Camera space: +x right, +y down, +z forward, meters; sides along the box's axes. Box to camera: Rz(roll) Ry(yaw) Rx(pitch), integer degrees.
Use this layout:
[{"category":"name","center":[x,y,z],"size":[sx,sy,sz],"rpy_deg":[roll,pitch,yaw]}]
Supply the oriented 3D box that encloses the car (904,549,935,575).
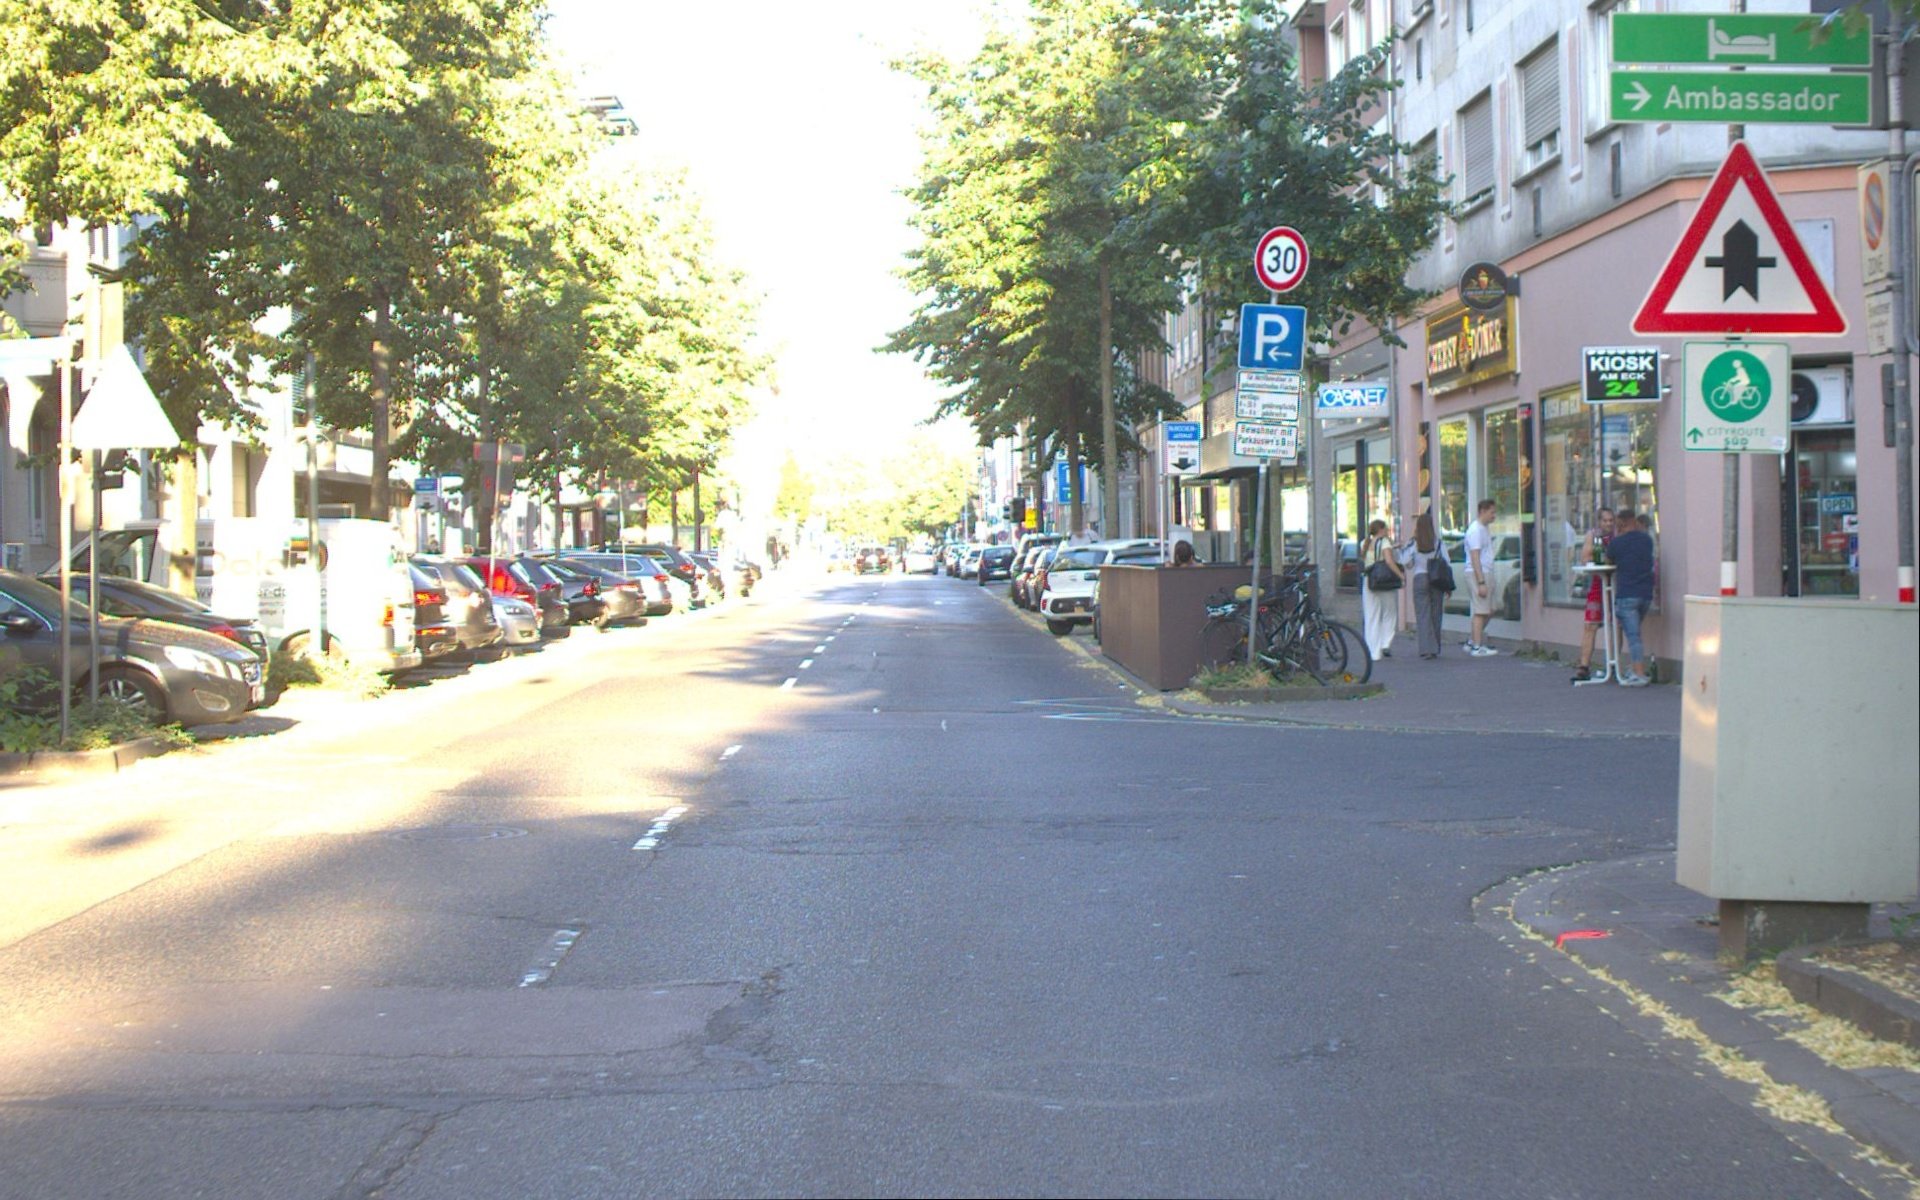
[{"category":"car","center":[-2.334,-2.185,198.063],"size":[1.721,1.470,3.304],"rpy_deg":[-1,1,0]}]

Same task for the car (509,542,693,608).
[{"category":"car","center":[-8.769,-0.610,84.205],"size":[4.304,1.592,1.919],"rpy_deg":[0,1,0]}]

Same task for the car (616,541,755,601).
[{"category":"car","center":[-9.049,-0.958,113.619],"size":[4.442,1.953,1.919],"rpy_deg":[0,1,0]}]

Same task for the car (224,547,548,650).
[{"category":"car","center":[-8.377,-0.034,50.407],"size":[4.442,1.479,1.809],"rpy_deg":[0,1,0]}]

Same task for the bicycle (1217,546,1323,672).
[{"category":"bicycle","center":[3.027,0.074,33.395],"size":[0.598,1.174,1.844],"rpy_deg":[0,1,19]}]

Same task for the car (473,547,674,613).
[{"category":"car","center":[-8.958,-0.478,79.885],"size":[4.442,1.518,1.919],"rpy_deg":[0,1,0]}]

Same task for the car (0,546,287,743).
[{"category":"car","center":[-7.856,0.335,27.685],"size":[4.546,1.536,1.811],"rpy_deg":[0,1,-2]}]

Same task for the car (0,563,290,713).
[{"category":"car","center":[-8.568,0.353,33.082],"size":[3.791,1.387,2.043],"rpy_deg":[0,0,3]}]

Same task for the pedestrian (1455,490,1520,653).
[{"category":"pedestrian","center":[5.922,-0.327,38.615],"size":[0.698,1.798,0.891],"rpy_deg":[-1,1,8]}]

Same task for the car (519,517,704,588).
[{"category":"car","center":[-8.718,-1.184,86.302],"size":[4.442,1.753,1.919],"rpy_deg":[0,1,0]}]

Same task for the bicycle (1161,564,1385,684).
[{"category":"bicycle","center":[2.902,0.213,31.935],"size":[1.957,1.070,0.704],"rpy_deg":[0,1,31]}]

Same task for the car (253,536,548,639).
[{"category":"car","center":[-8.988,-0.211,55.466],"size":[4.442,1.633,1.859],"rpy_deg":[0,1,0]}]

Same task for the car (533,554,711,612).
[{"category":"car","center":[-8.776,-0.452,89.430],"size":[4.442,1.494,1.919],"rpy_deg":[0,1,0]}]

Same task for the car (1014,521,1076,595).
[{"category":"car","center":[2.166,-1.085,88.553],"size":[1.513,1.858,4.235],"rpy_deg":[0,1,1]}]

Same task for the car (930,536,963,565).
[{"category":"car","center":[-0.730,-2.702,188.466],"size":[1.752,1.535,3.304],"rpy_deg":[-1,1,0]}]

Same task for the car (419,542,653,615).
[{"category":"car","center":[-8.473,-0.438,68.933],"size":[4.442,1.444,1.919],"rpy_deg":[0,1,0]}]

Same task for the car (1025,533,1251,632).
[{"category":"car","center":[2.963,-0.315,56.622],"size":[1.674,1.583,3.814],"rpy_deg":[1,1,42]}]

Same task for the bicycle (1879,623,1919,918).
[{"category":"bicycle","center":[4.013,0.641,12.497],"size":[0.778,1.108,1.899],"rpy_deg":[-2,0,-1]}]

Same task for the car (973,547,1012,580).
[{"category":"car","center":[1.269,-1.450,136.224],"size":[1.513,1.271,3.304],"rpy_deg":[0,1,0]}]

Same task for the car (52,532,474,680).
[{"category":"car","center":[-8.180,0.055,40.682],"size":[4.571,1.692,2.060],"rpy_deg":[0,1,0]}]

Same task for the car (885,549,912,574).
[{"category":"car","center":[-3.883,-2.427,216.510],"size":[1.570,1.500,3.304],"rpy_deg":[-1,1,0]}]

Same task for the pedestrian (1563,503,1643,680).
[{"category":"pedestrian","center":[5.957,-0.084,31.874],"size":[0.567,1.594,0.663],"rpy_deg":[-2,2,0]}]

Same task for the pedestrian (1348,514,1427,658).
[{"category":"pedestrian","center":[4.870,-0.163,39.131],"size":[0.797,1.620,0.912],"rpy_deg":[0,1,12]}]

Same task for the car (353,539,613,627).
[{"category":"car","center":[-8.626,-0.318,62.411],"size":[4.442,1.562,1.919],"rpy_deg":[0,1,0]}]

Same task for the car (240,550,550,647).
[{"category":"car","center":[-8.625,-0.037,52.712],"size":[4.442,1.453,1.859],"rpy_deg":[0,1,0]}]

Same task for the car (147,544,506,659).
[{"category":"car","center":[-8.403,0.007,45.837],"size":[4.442,1.501,1.845],"rpy_deg":[0,1,0]}]

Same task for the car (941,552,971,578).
[{"category":"car","center":[-0.200,-1.795,177.148],"size":[1.513,1.294,3.304],"rpy_deg":[0,1,0]}]

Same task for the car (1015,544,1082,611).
[{"category":"car","center":[2.106,-0.558,82.103],"size":[1.513,1.556,3.514],"rpy_deg":[0,1,0]}]

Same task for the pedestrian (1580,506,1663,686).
[{"category":"pedestrian","center":[5.979,-0.043,31.110],"size":[0.567,1.578,0.663],"rpy_deg":[-2,2,0]}]

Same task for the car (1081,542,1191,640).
[{"category":"car","center":[2.641,-0.158,52.214],"size":[1.543,1.428,3.678],"rpy_deg":[0,1,1]}]

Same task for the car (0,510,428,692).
[{"category":"car","center":[-8.318,-0.003,38.036],"size":[4.571,1.955,1.991],"rpy_deg":[0,1,-1]}]

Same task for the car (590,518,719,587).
[{"category":"car","center":[-10.972,-1.707,123.740],"size":[4.442,2.426,1.919],"rpy_deg":[0,1,0]}]

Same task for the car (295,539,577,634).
[{"category":"car","center":[-8.754,-0.236,57.697],"size":[4.442,1.562,1.919],"rpy_deg":[0,1,0]}]

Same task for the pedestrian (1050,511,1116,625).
[{"category":"pedestrian","center":[2.092,-0.543,58.571],"size":[0.916,1.919,1.018],"rpy_deg":[0,1,-10]}]

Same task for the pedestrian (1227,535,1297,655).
[{"category":"pedestrian","center":[3.514,-0.064,40.088],"size":[0.726,1.373,0.781],"rpy_deg":[-1,1,-1]}]

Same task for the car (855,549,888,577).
[{"category":"car","center":[-5.061,-2.106,196.499],"size":[1.752,1.535,3.304],"rpy_deg":[-1,1,0]}]

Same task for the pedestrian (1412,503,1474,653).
[{"category":"pedestrian","center":[5.462,-0.255,38.833],"size":[0.631,1.674,0.891],"rpy_deg":[0,1,11]}]
